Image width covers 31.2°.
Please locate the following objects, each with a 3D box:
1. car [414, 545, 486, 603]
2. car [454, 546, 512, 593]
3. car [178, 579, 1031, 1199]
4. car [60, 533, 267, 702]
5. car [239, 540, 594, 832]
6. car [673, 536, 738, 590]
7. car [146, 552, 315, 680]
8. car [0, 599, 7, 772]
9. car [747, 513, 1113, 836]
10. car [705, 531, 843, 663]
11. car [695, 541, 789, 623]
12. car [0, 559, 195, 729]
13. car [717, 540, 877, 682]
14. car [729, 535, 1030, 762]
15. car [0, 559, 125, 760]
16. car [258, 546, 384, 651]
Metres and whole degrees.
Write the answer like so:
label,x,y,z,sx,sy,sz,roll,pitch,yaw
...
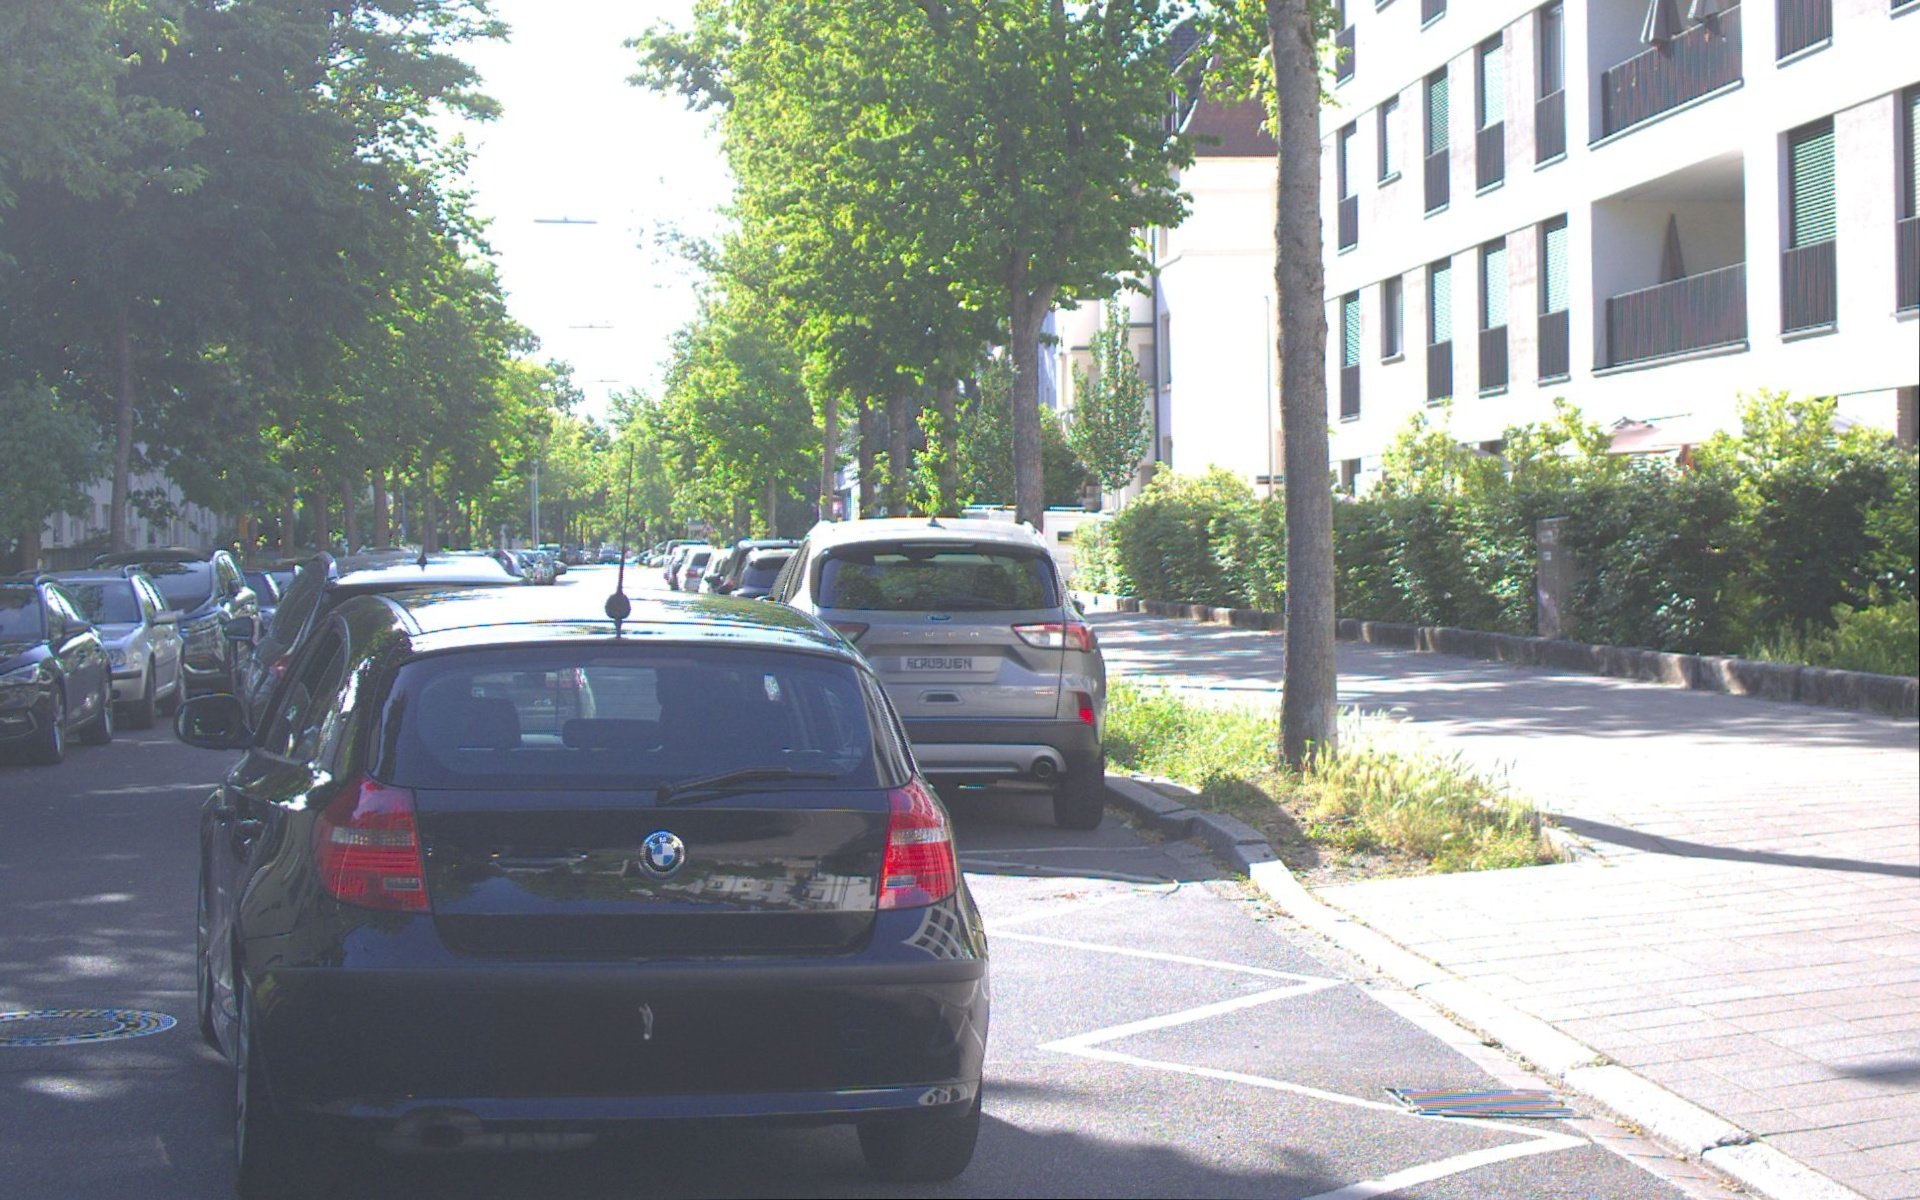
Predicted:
label,x,y,z,sx,sy,sz,roll,pitch,yaw
car,-13.046,-0.692,88.068,1.612,1.387,3.866,-2,1,-6
car,-14.922,-0.966,107.661,1.612,1.387,3.866,-2,1,-6
car,-1.089,0.684,8.832,1.649,1.392,3.412,-2,1,-15
car,-8.587,0.141,37.366,1.612,1.673,4.235,-2,1,-6
car,-3.149,0.393,19.363,1.649,1.420,4.002,-2,1,-13
car,-7.428,-1.100,100.637,1.721,1.475,3.851,-2,1,-2
car,-9.091,0.164,43.049,1.612,1.447,3.866,-2,1,-6
car,-7.151,0.429,21.586,1.612,1.606,4.231,-2,1,-7
car,-0.285,0.354,19.604,1.848,1.625,4.411,0,0,-4
car,-2.499,-0.071,45.652,1.720,1.635,3.852,1,1,-4
car,-4.166,-0.361,65.490,1.720,1.475,3.852,1,1,-4
car,-8.174,0.368,31.942,1.612,1.422,3.726,-2,1,-6
car,-1.930,0.088,39.671,1.720,1.523,4.001,1,1,-4
car,-0.673,0.296,25.288,1.693,1.518,4.001,0,1,-9
car,-7.657,0.435,26.873,1.612,1.422,4.059,-2,1,-6
car,-10.098,-0.050,54.529,1.612,1.537,3.866,-2,1,-6
